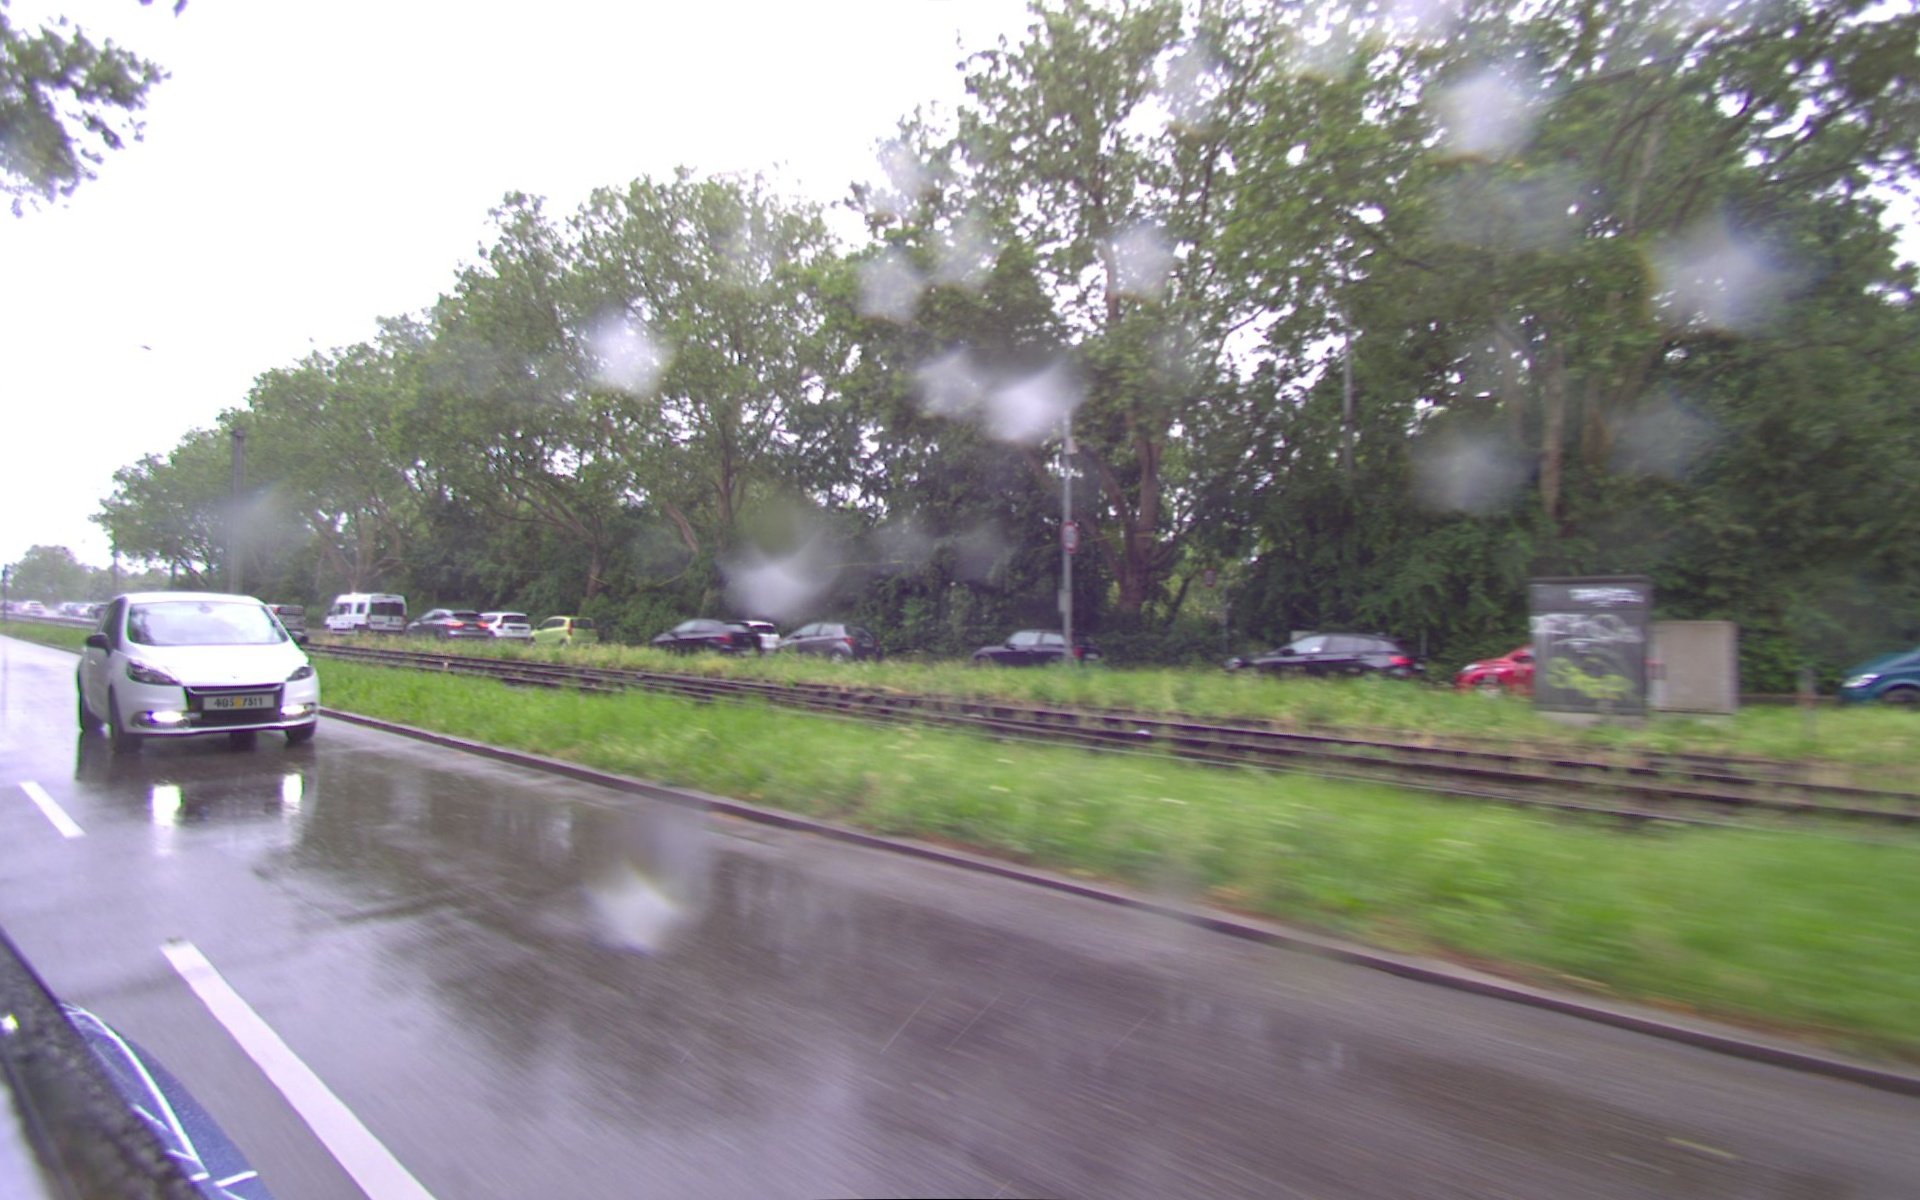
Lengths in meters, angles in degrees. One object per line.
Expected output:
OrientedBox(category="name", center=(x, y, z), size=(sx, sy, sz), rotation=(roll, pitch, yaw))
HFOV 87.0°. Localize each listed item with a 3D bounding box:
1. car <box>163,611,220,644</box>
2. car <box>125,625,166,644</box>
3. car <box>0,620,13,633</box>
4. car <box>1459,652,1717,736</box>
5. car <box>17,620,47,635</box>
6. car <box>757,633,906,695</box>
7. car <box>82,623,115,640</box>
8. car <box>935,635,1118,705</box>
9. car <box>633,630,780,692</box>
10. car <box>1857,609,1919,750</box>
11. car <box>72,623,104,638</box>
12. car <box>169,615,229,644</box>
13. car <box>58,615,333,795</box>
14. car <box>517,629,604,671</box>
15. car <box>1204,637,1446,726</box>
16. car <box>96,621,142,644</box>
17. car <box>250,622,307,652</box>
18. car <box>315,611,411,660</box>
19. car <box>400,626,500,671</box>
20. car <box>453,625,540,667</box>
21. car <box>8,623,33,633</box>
OrientedBox(category="car", center=(-61.092, 2.198, 80.454), size=(6.136, 2.464, 2.305), rotation=(0, -3, 41))
OrientedBox(category="car", center=(-72.978, 3.088, 90.649), size=(4.381, 1.564, 2.013), rotation=(-1, -4, 40))
OrientedBox(category="car", center=(-125.871, 3.421, 132.736), size=(4.565, 1.564, 2.012), rotation=(0, -2, 41))
OrientedBox(category="car", center=(11.760, 1.704, 19.060), size=(3.981, 1.327, 1.719), rotation=(0, -3, 38))
OrientedBox(category="car", center=(-108.478, 3.192, 118.286), size=(4.765, 1.579, 1.958), rotation=(-1, -4, 40))
OrientedBox(category="car", center=(-4.131, 1.999, 32.202), size=(4.690, 1.764, 2.011), rotation=(-1, -4, 40))
OrientedBox(category="car", center=(-89.736, 3.307, 105.402), size=(4.367, 1.663, 1.866), rotation=(-1, -4, 41))
OrientedBox(category="car", center=(1.738, 1.853, 27.381), size=(4.606, 1.670, 2.011), rotation=(-1, -4, 40))
OrientedBox(category="car", center=(-7.521, 1.763, 29.863), size=(4.272, 1.670, 2.011), rotation=(-1, -3, 39))
OrientedBox(category="car", center=(16.478, 1.234, 14.838), size=(4.797, 2.109, 2.012), rotation=(0, -3, 38))
OrientedBox(category="car", center=(-94.464, 3.284, 109.629), size=(4.575, 1.522, 1.866), rotation=(-1, -4, 40))
OrientedBox(category="car", center=(-49.525, 1.923, 65.839), size=(4.690, 1.764, 2.011), rotation=(-1, -4, 40))
OrientedBox(category="car", center=(-8.758, 0.996, 11.449), size=(4.264, 1.636, 1.844), rotation=(-1, -1, 44))
OrientedBox(category="car", center=(-16.820, 2.085, 42.530), size=(3.810, 1.661, 1.743), rotation=(-1, -4, 40))
OrientedBox(category="car", center=(7.938, 1.716, 22.241), size=(4.606, 1.670, 2.011), rotation=(-1, -4, 40))
OrientedBox(category="car", center=(-67.572, 2.585, 81.288), size=(4.256, 1.764, 2.011), rotation=(-1, -4, 40))
OrientedBox(category="car", center=(-44.667, 2.403, 66.298), size=(4.638, 1.876, 1.936), rotation=(-1, -4, 41))
OrientedBox(category="car", center=(-33.080, 1.919, 55.998), size=(6.560, 2.560, 2.365), rotation=(-1, -4, 40))
OrientedBox(category="car", center=(-20.612, 1.940, 40.839), size=(4.391, 1.670, 1.993), rotation=(-1, -4, 40))
OrientedBox(category="car", center=(-21.184, 2.083, 46.175), size=(4.527, 1.741, 1.732), rotation=(-1, -4, 40))
OrientedBox(category="car", center=(-137.614, 4.090, 148.269), size=(4.914, 1.478, 2.013), rotation=(-1, -2, 40))
